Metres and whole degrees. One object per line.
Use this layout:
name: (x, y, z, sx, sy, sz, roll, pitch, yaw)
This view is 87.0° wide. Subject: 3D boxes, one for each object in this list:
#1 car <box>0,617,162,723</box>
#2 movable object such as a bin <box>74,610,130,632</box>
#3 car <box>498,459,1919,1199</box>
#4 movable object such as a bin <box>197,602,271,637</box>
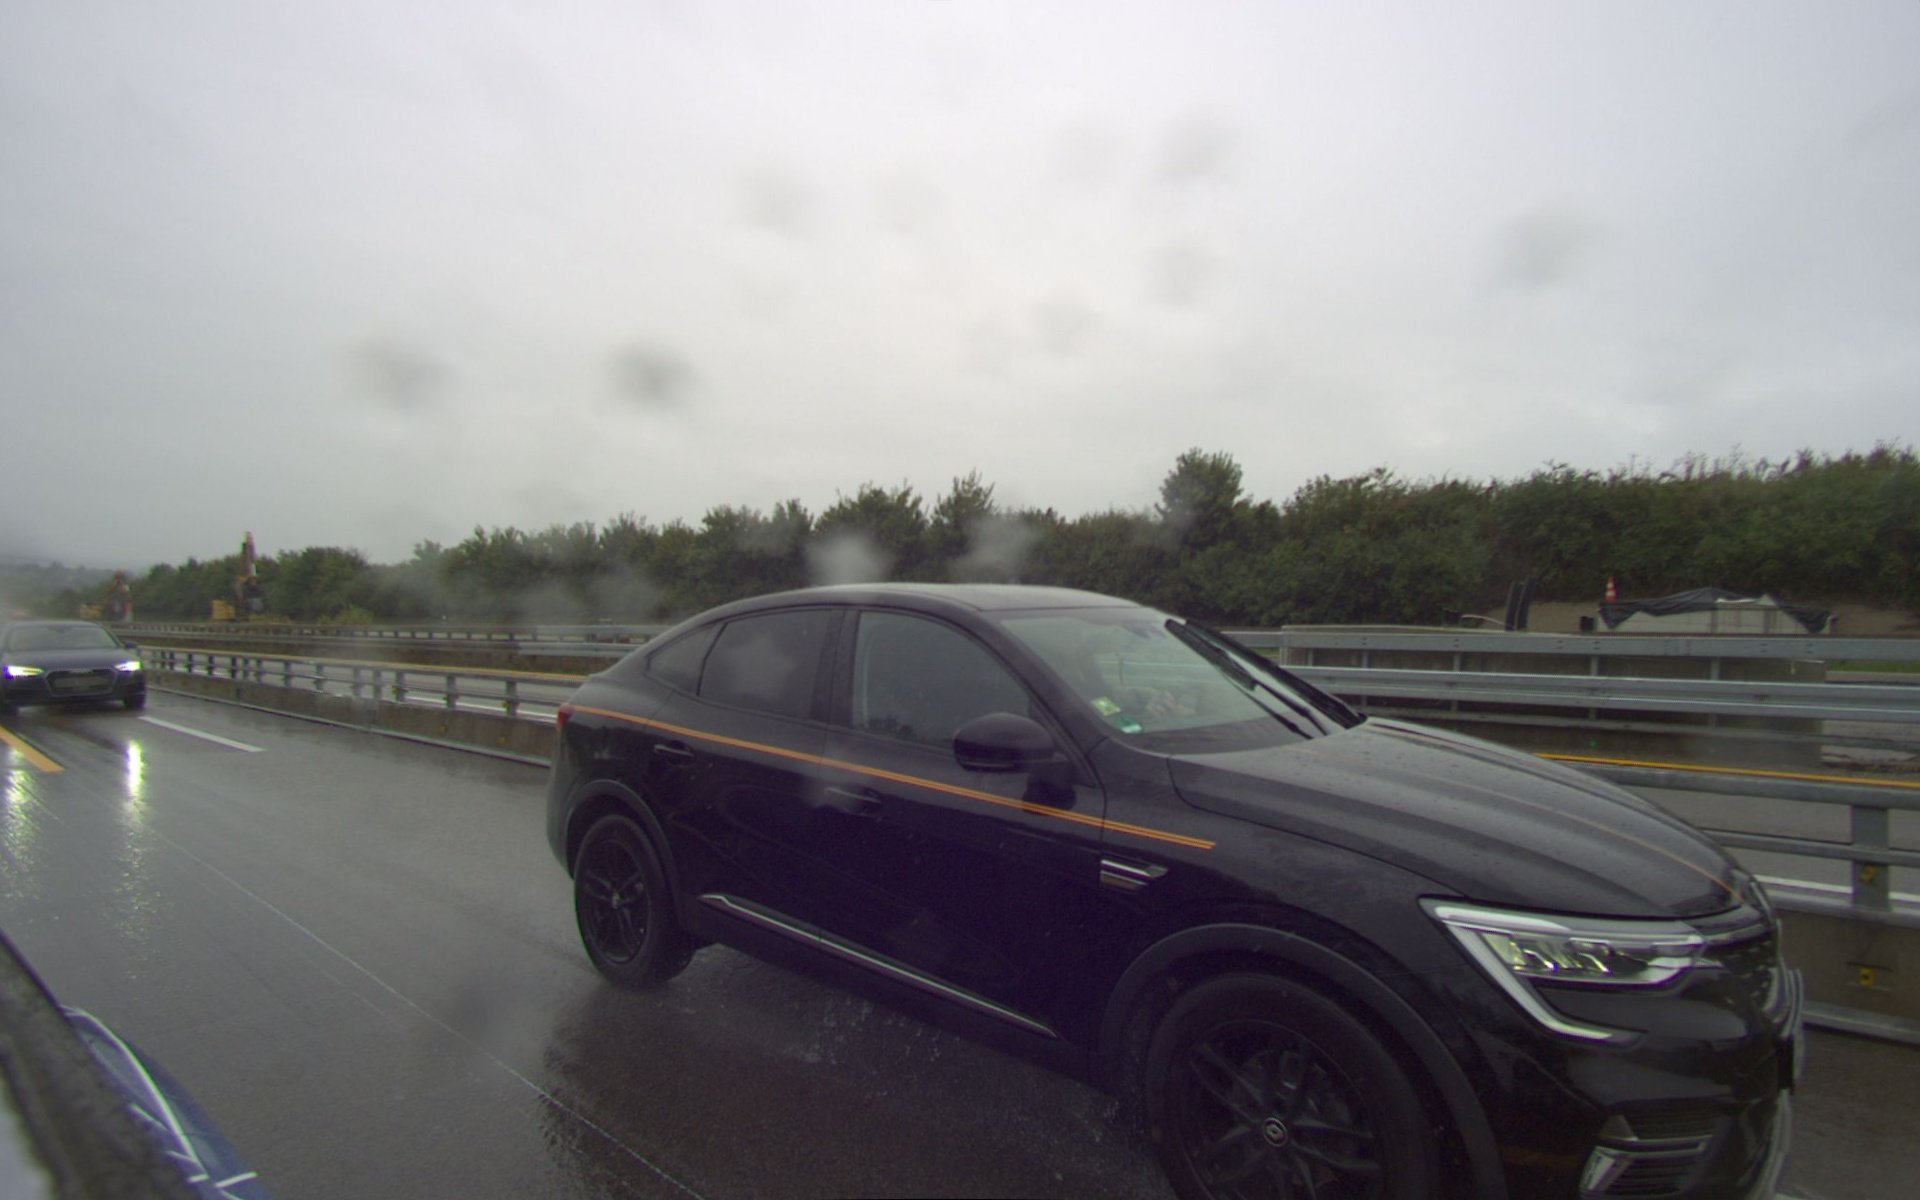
car: (-15.082, 1.054, 16.818, 4.627, 1.509, 1.973, -1, 0, 40)
movable object such as a bin: (-94.546, 2.356, 111.512, 5.087, 2.312, 3.410, -1, 0, 34)
car: (0.357, 0.628, 3.520, 4.412, 1.597, 1.972, -1, 0, 42)
movable object such as a bin: (-61.865, 1.654, 86.173, 6.326, 2.819, 3.727, -1, 0, 41)
